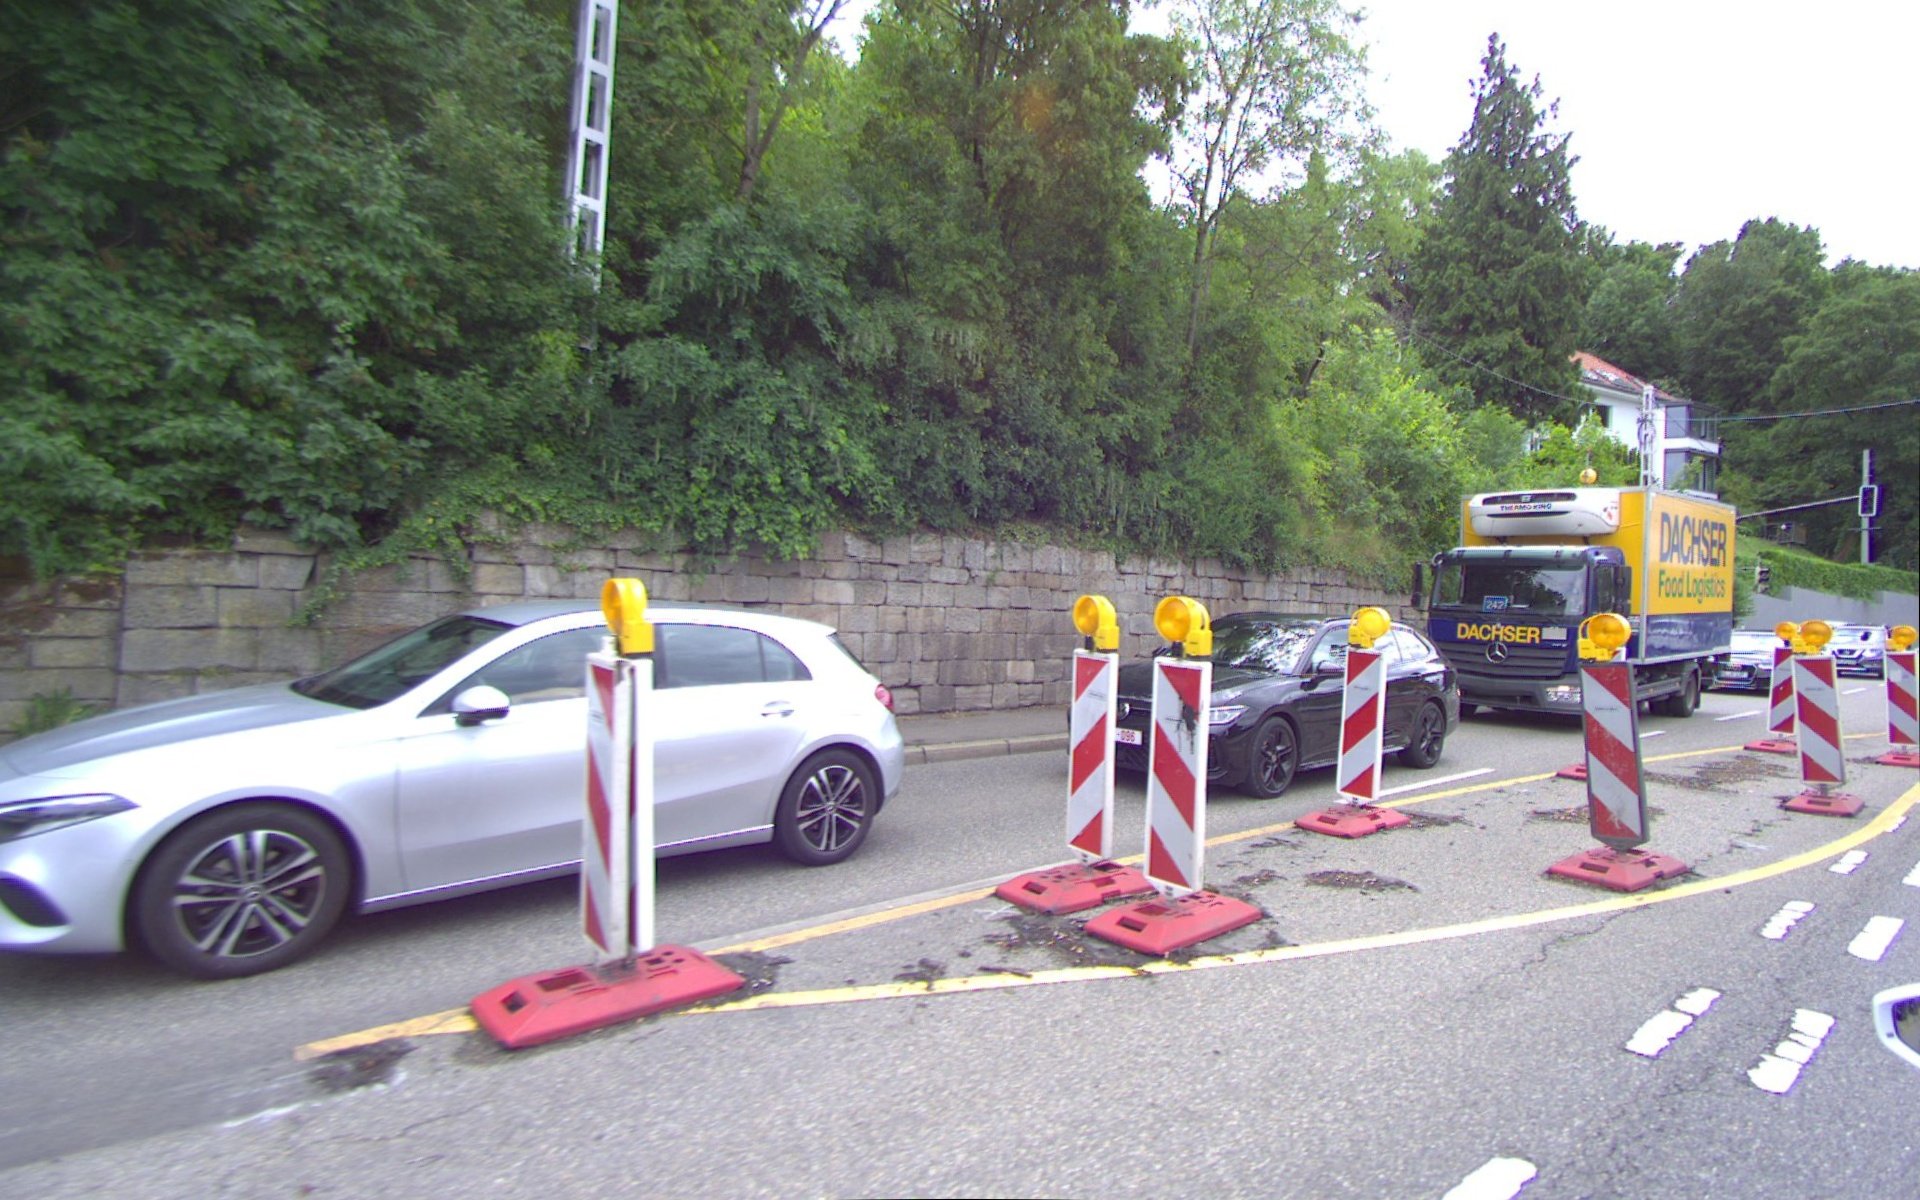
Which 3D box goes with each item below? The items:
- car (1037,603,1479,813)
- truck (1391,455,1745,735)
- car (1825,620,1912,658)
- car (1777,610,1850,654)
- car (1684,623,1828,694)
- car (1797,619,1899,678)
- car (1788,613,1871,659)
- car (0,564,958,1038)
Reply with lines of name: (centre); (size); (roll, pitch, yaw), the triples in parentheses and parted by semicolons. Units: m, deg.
car: (3.022, 0.849, 9.521); (4.709, 1.461, 1.755); (2, 1, -41)
truck: (10.040, 0.025, 16.194); (7.292, 3.556, 2.707); (2, -1, -41)
car: (42.425, 1.831, 46.890); (4.425, 1.593, 1.823); (2, 1, -32)
car: (34.202, 1.252, 40.245); (2.933, 1.594, 1.696); (0, 4, -40)
car: (18.859, 1.315, 23.722); (4.837, 1.449, 1.794); (1, 0, -41)
car: (28.691, 1.527, 32.400); (4.635, 1.719, 1.867); (2, 0, -41)
car: (37.775, 1.553, 43.603); (4.720, 1.754, 1.844); (2, 2, -39)
car: (-2.212, 0.691, 5.279); (4.280, 1.528, 1.775); (2, 1, -42)
